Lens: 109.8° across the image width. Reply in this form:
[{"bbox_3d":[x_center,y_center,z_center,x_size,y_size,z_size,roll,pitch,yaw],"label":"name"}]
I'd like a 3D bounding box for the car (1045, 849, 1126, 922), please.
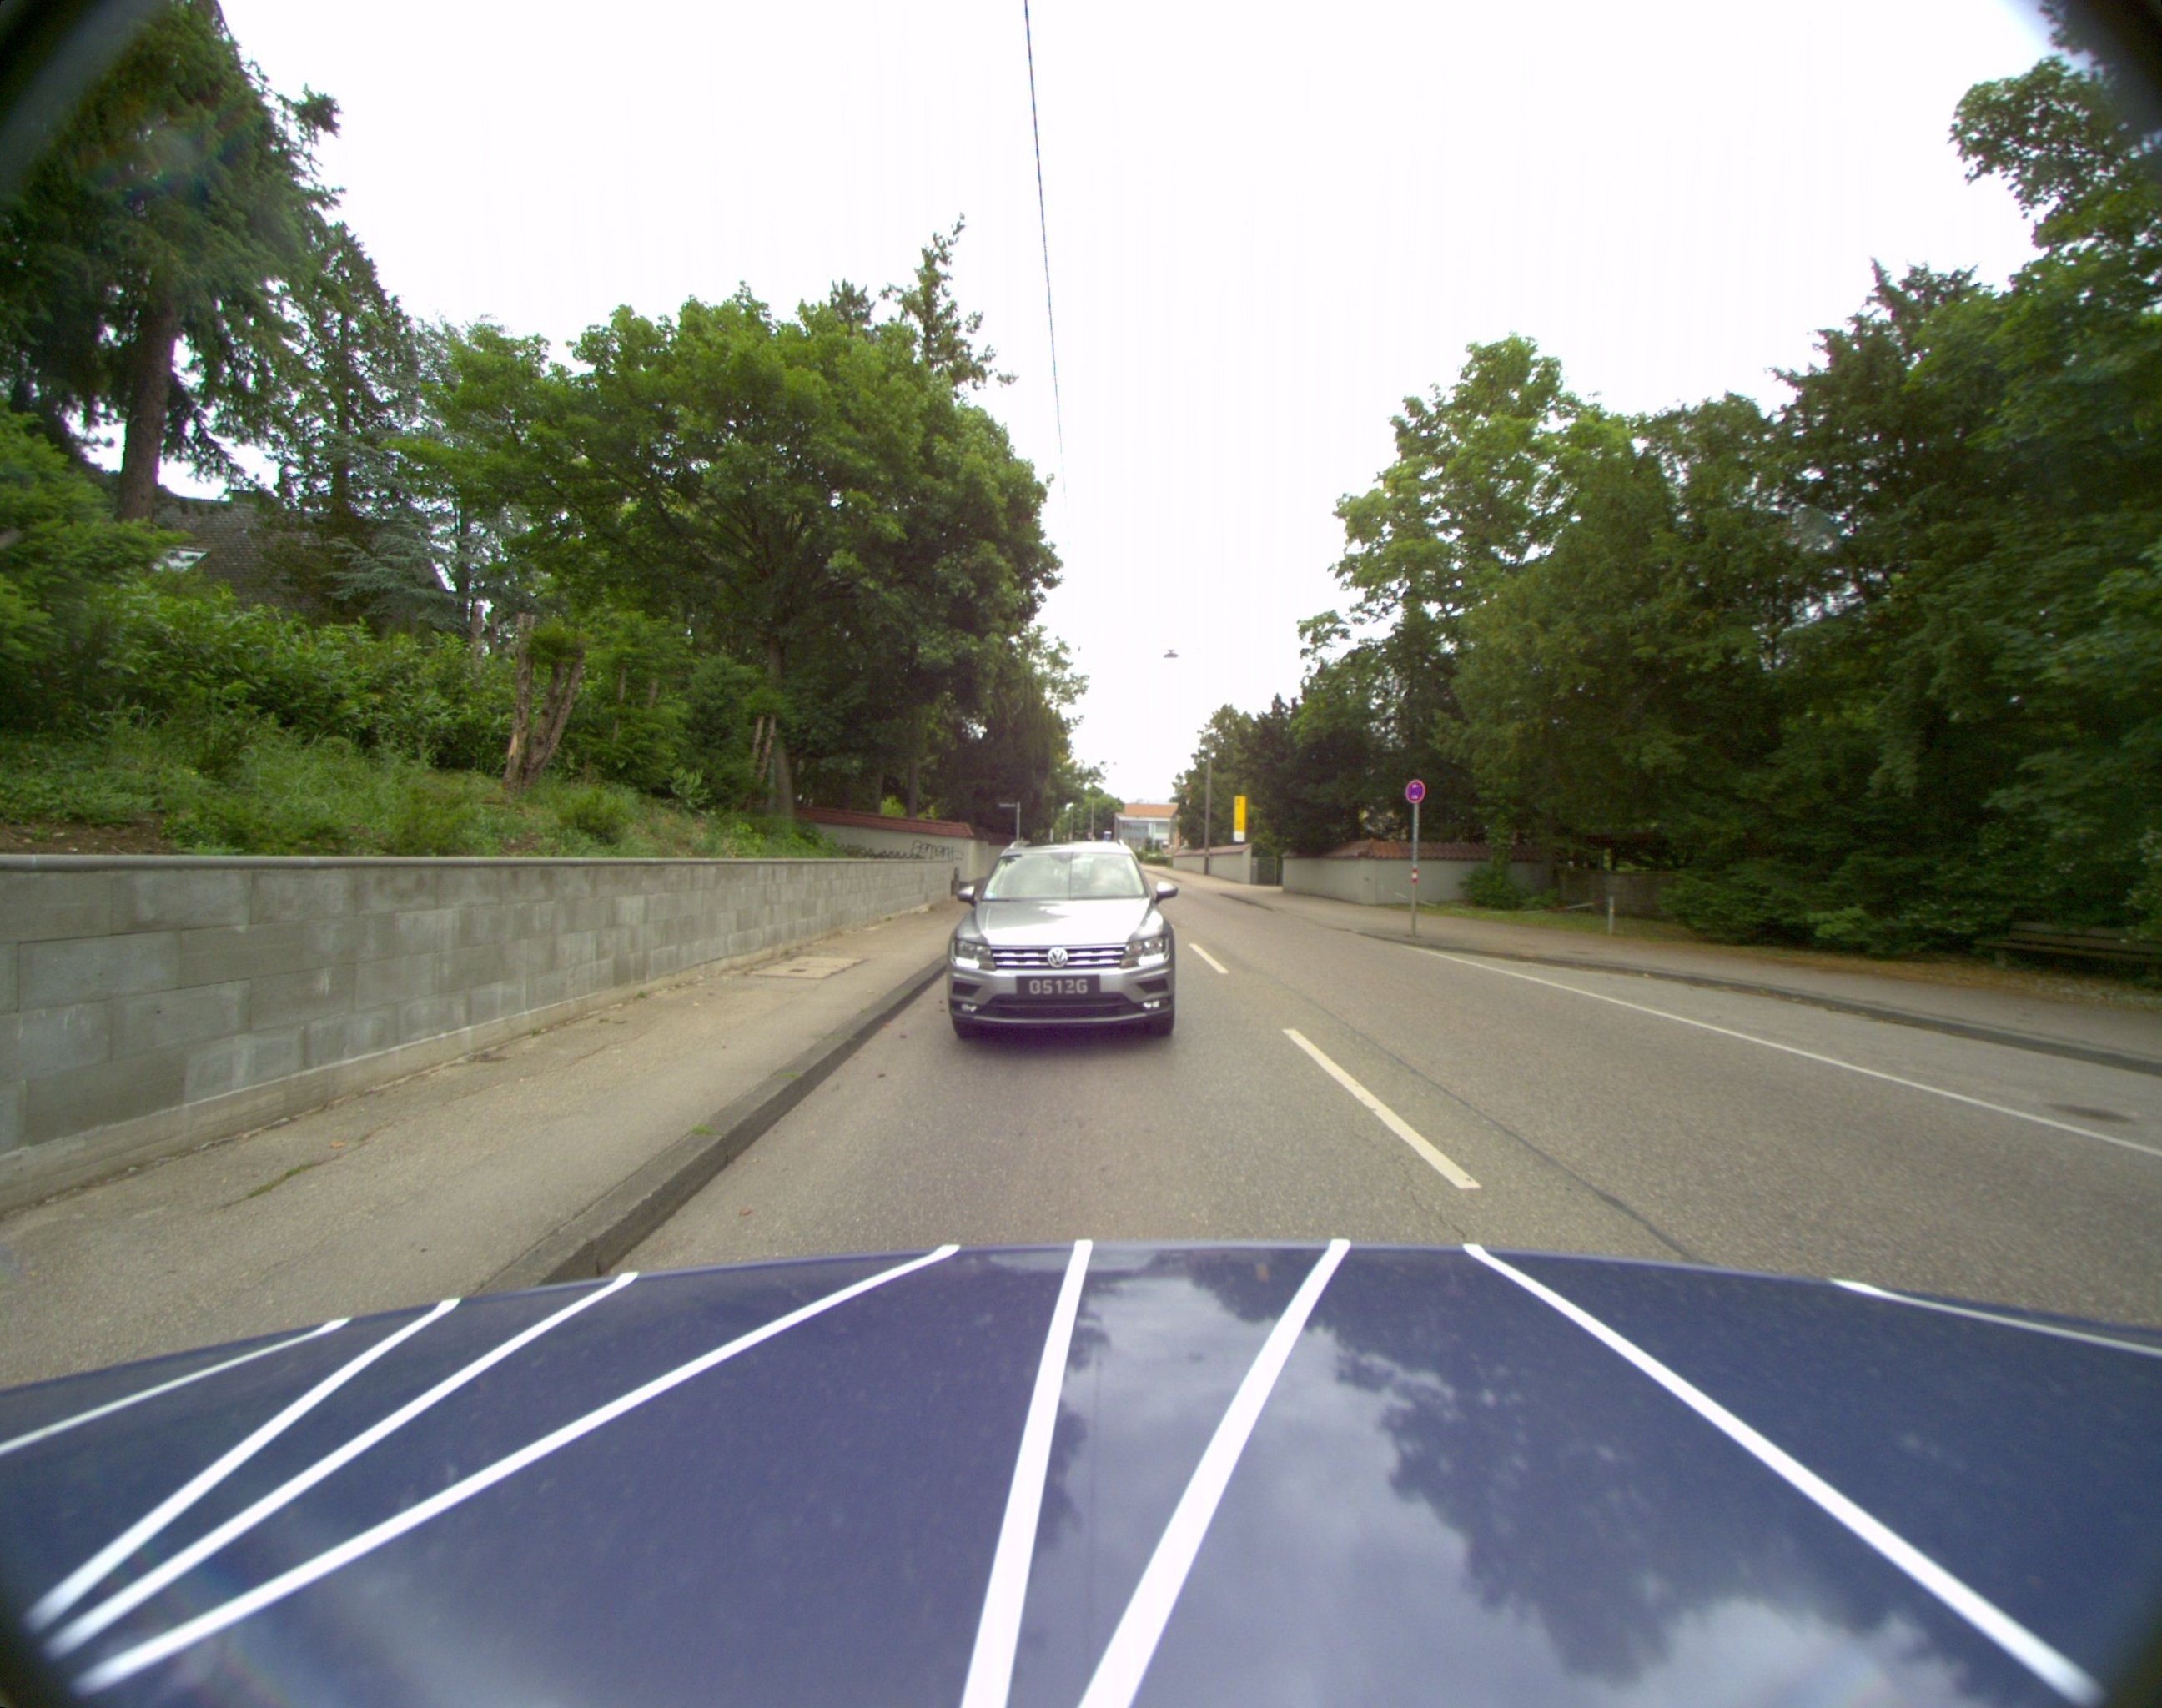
[{"bbox_3d":[0.114,0.694,19.395,1.820,1.647,4.487,0,1,0],"label":"car"}]

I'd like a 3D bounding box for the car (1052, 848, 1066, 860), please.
[{"bbox_3d":[-3.121,0.021,109.692,1.820,1.733,4.487,0,1,0],"label":"car"}]

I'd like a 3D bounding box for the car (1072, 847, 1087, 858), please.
[{"bbox_3d":[-0.249,-0.214,116.110,1.878,1.647,4.252,0,1,-8],"label":"car"}]

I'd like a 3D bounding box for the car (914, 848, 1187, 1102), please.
[{"bbox_3d":[-0.196,0.811,7.528,1.820,1.690,4.718,-1,0,0],"label":"car"}]

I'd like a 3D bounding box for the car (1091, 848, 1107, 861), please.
[{"bbox_3d":[2.167,0.035,93.632,1.877,1.647,4.255,0,1,0],"label":"car"}]
